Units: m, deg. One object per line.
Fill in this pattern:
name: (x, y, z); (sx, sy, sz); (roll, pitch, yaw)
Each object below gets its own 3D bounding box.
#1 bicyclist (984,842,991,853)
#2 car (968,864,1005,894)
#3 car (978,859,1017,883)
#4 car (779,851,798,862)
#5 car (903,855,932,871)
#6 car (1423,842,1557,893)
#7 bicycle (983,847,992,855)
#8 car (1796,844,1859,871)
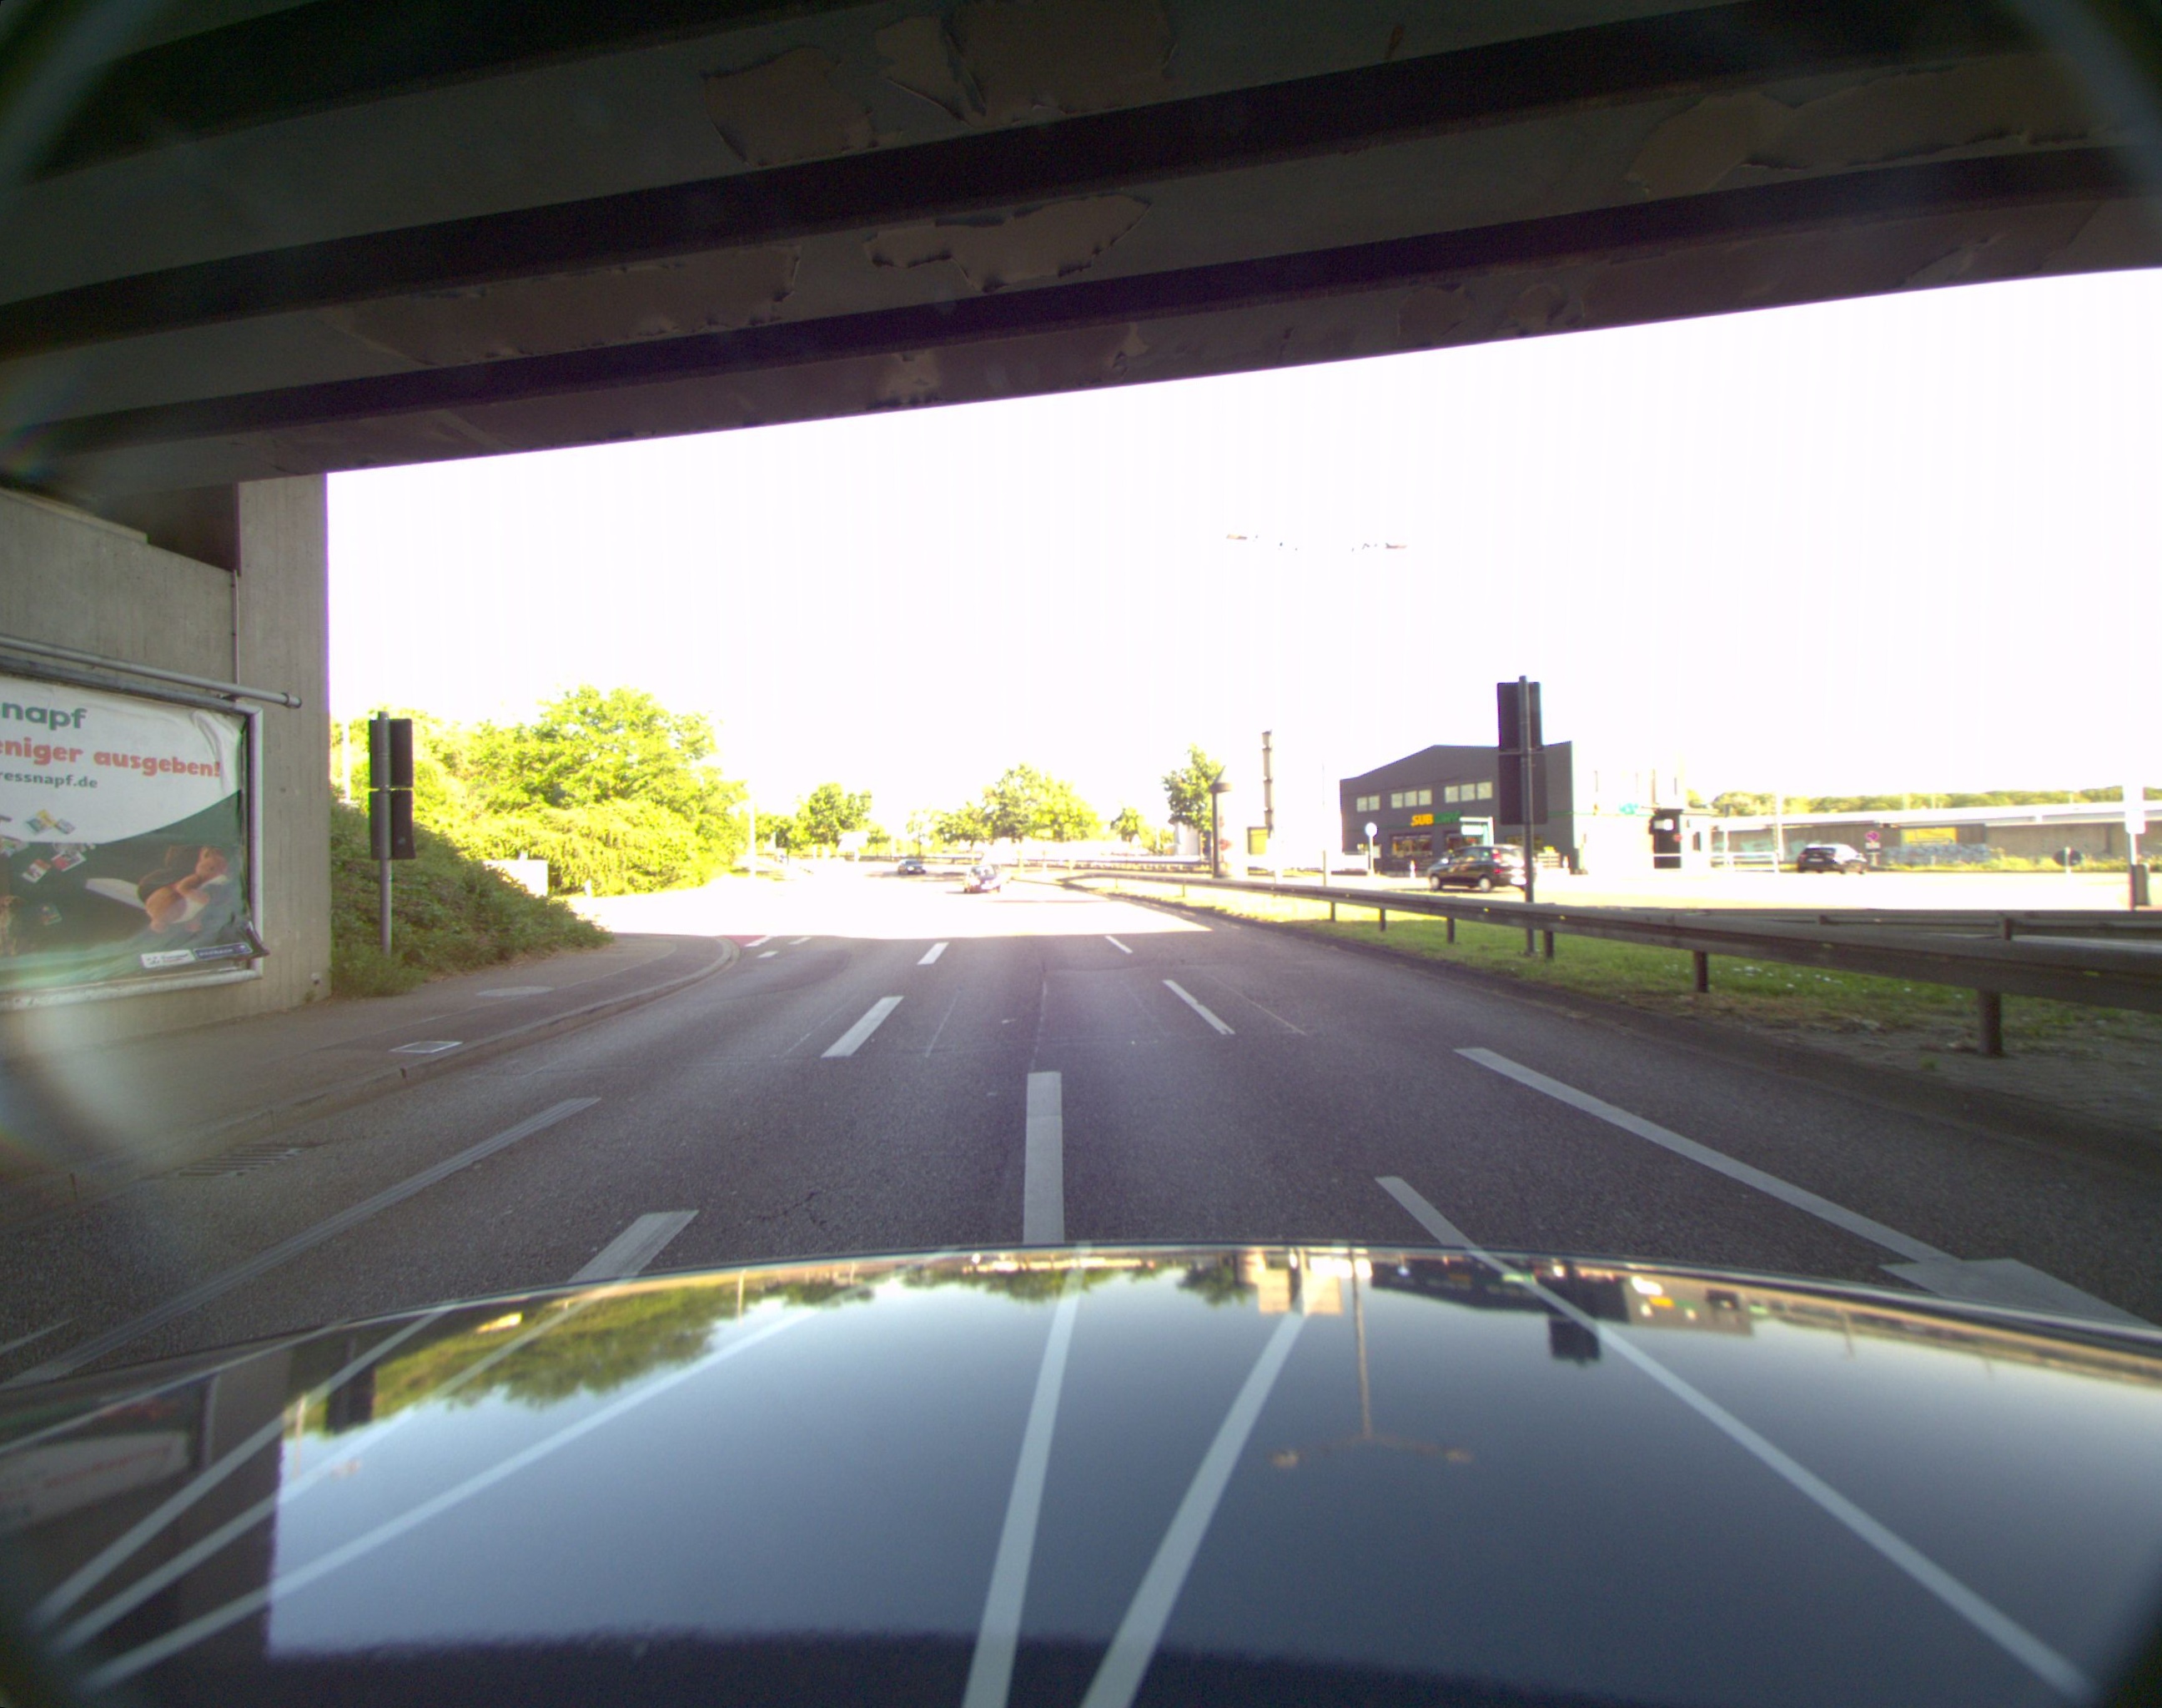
bicyclist: (-12.187, -0.797, 99.231); (0.594, 1.419, 0.707); (-3, 1, -31)
car: (-5.093, 1.278, 40.431); (1.739, 1.412, 4.315); (-1, 0, -10)
car: (-5.552, 1.082, 50.147); (1.851, 1.412, 3.976); (-1, 1, -16)
car: (-44.880, 0.358, 116.499); (1.853, 1.473, 3.972); (-1, -2, -33)
car: (-16.090, 0.920, 74.787); (1.859, 1.471, 4.221); (-2, 0, -25)
car: (13.845, 0.458, 26.036); (1.831, 1.578, 4.179); (-1, 0, -11)
bicycle: (-12.224, -0.409, 99.338); (0.594, 1.017, 1.746); (-3, 1, -31)
car: (38.391, 0.184, 39.066); (4.191, 1.274, 1.825); (1, 0, -39)
